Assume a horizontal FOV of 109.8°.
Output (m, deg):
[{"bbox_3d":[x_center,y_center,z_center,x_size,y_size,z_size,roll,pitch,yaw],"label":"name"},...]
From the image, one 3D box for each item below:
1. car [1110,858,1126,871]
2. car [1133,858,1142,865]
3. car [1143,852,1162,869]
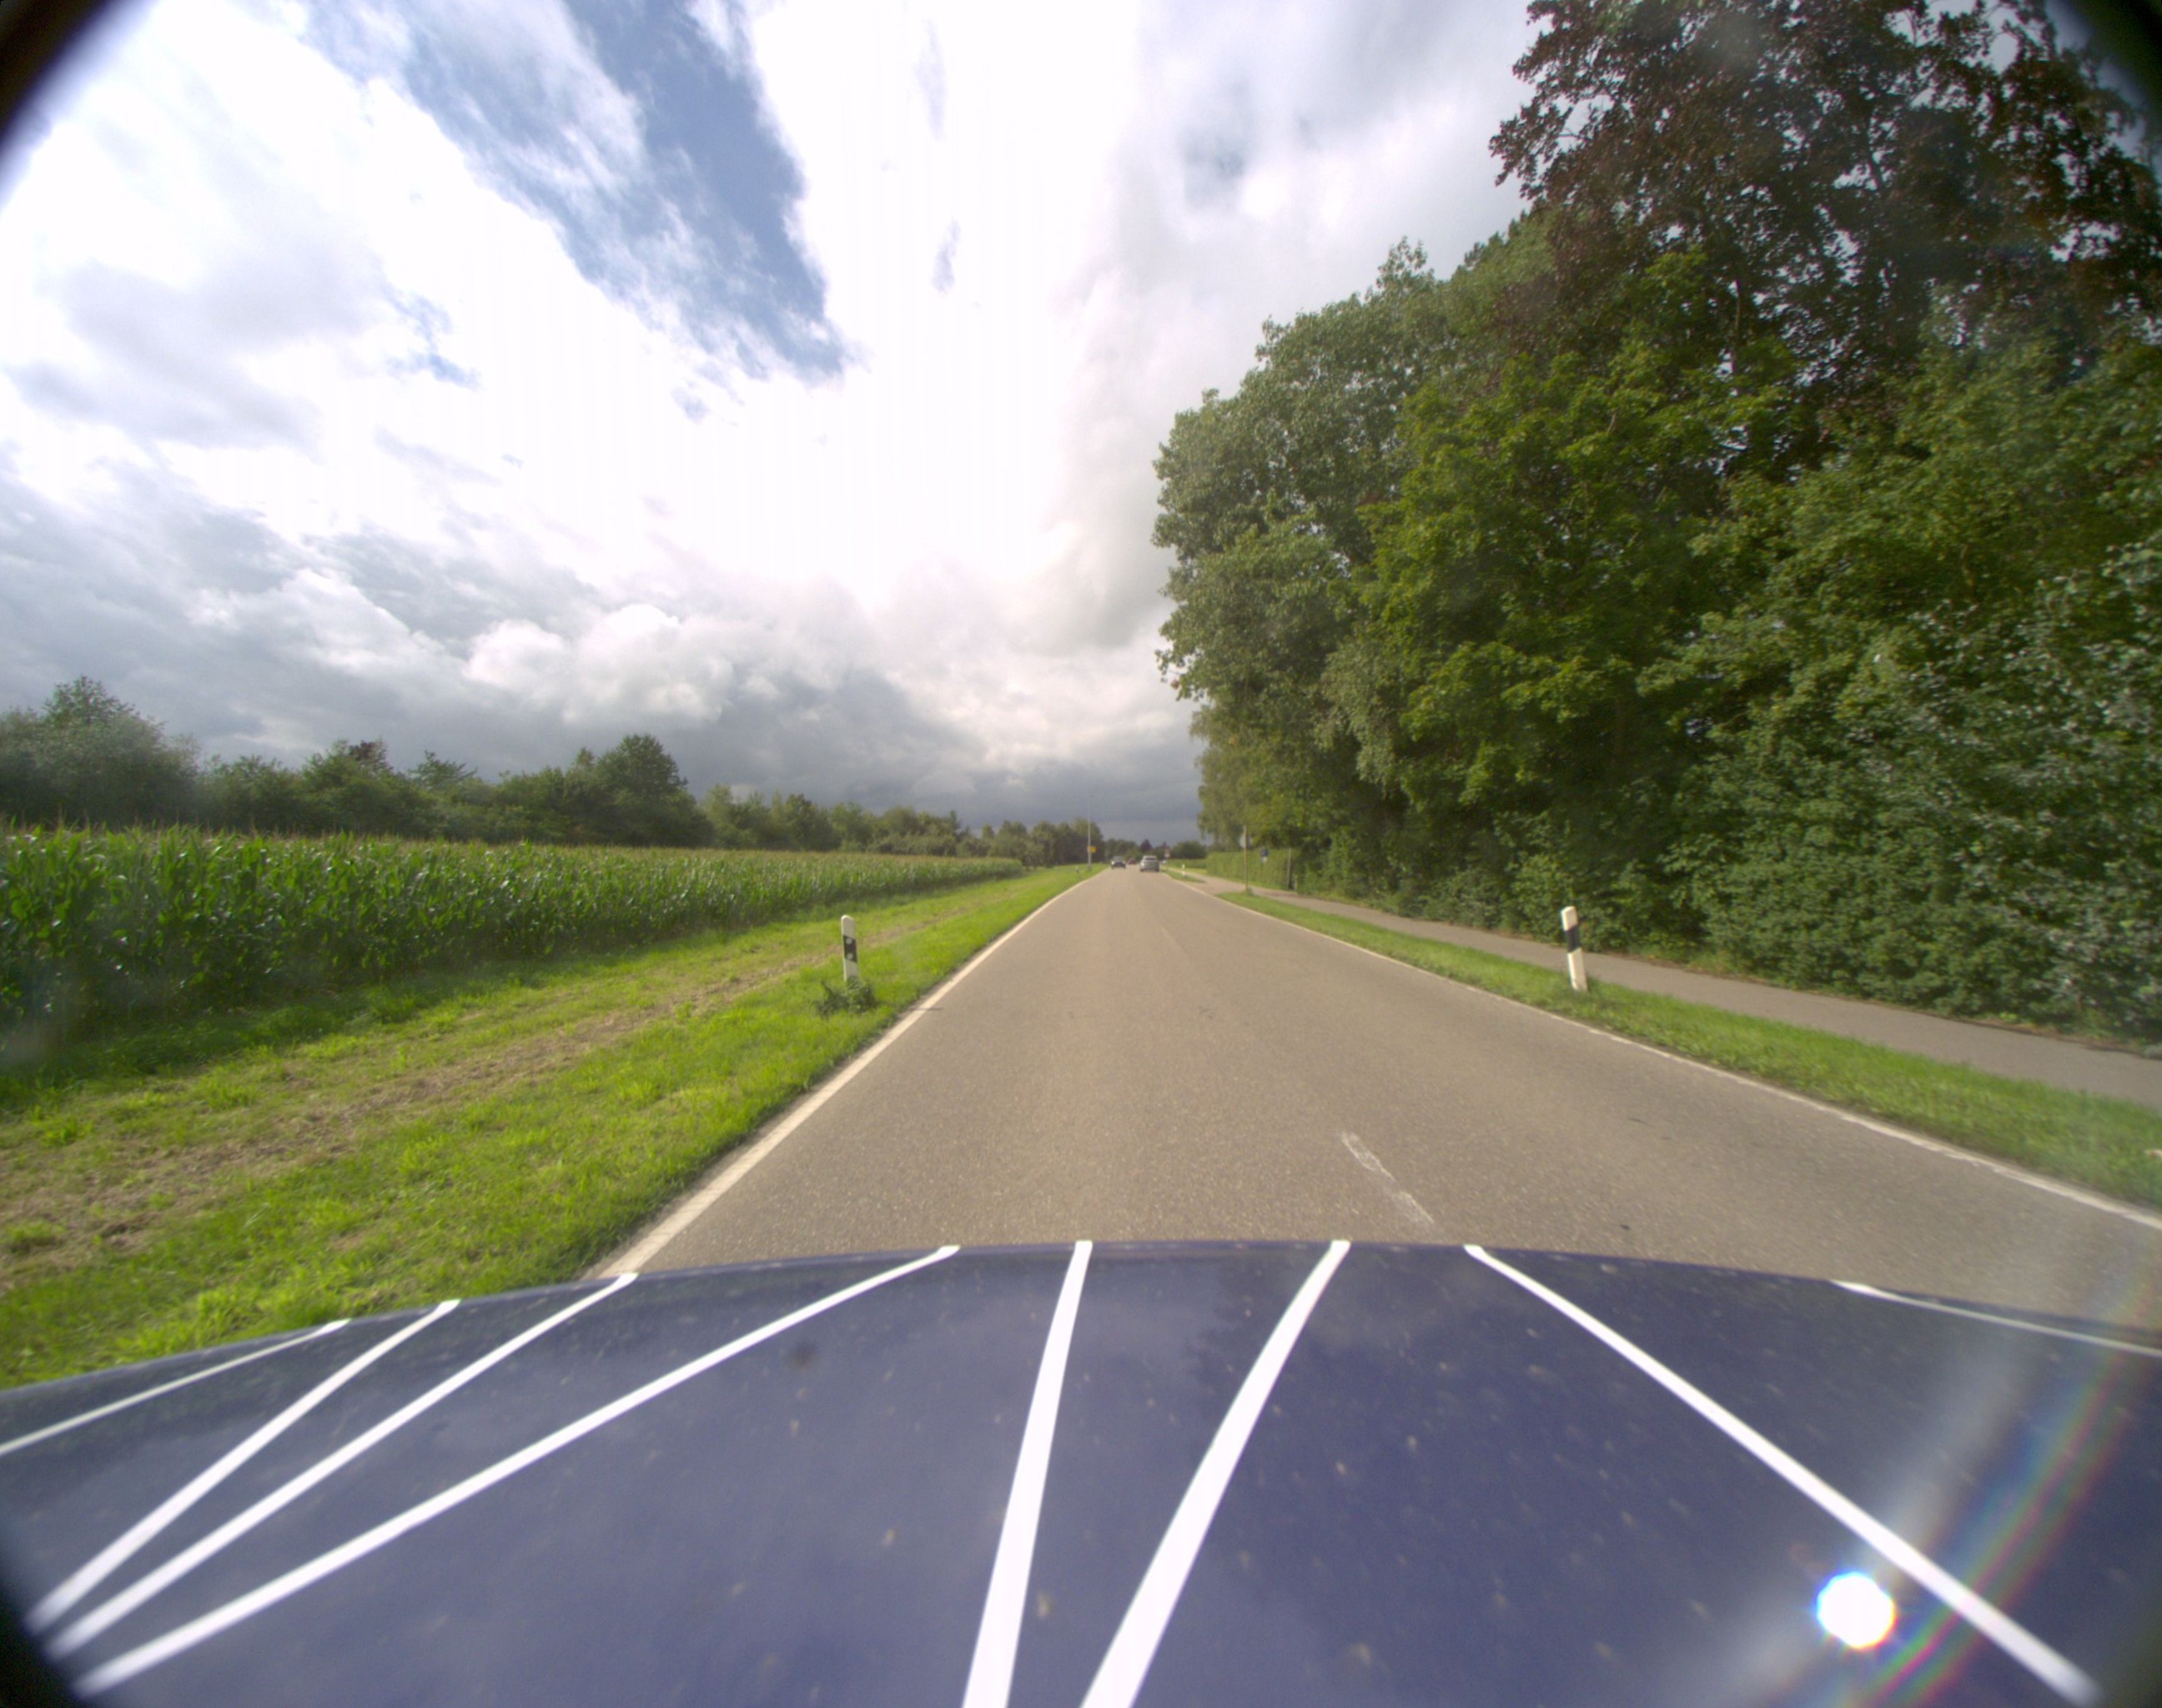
[{"bbox_3d":[4.895,1.410,99.799,1.998,1.594,4.001,-1,0,4],"label":"car"},{"bbox_3d":[12.535,1.607,168.439,1.744,1.462,4.001,1,0,3],"label":"car"},{"bbox_3d":[7.387,0.646,78.641,1.815,1.641,4.293,1,0,4],"label":"car"}]
